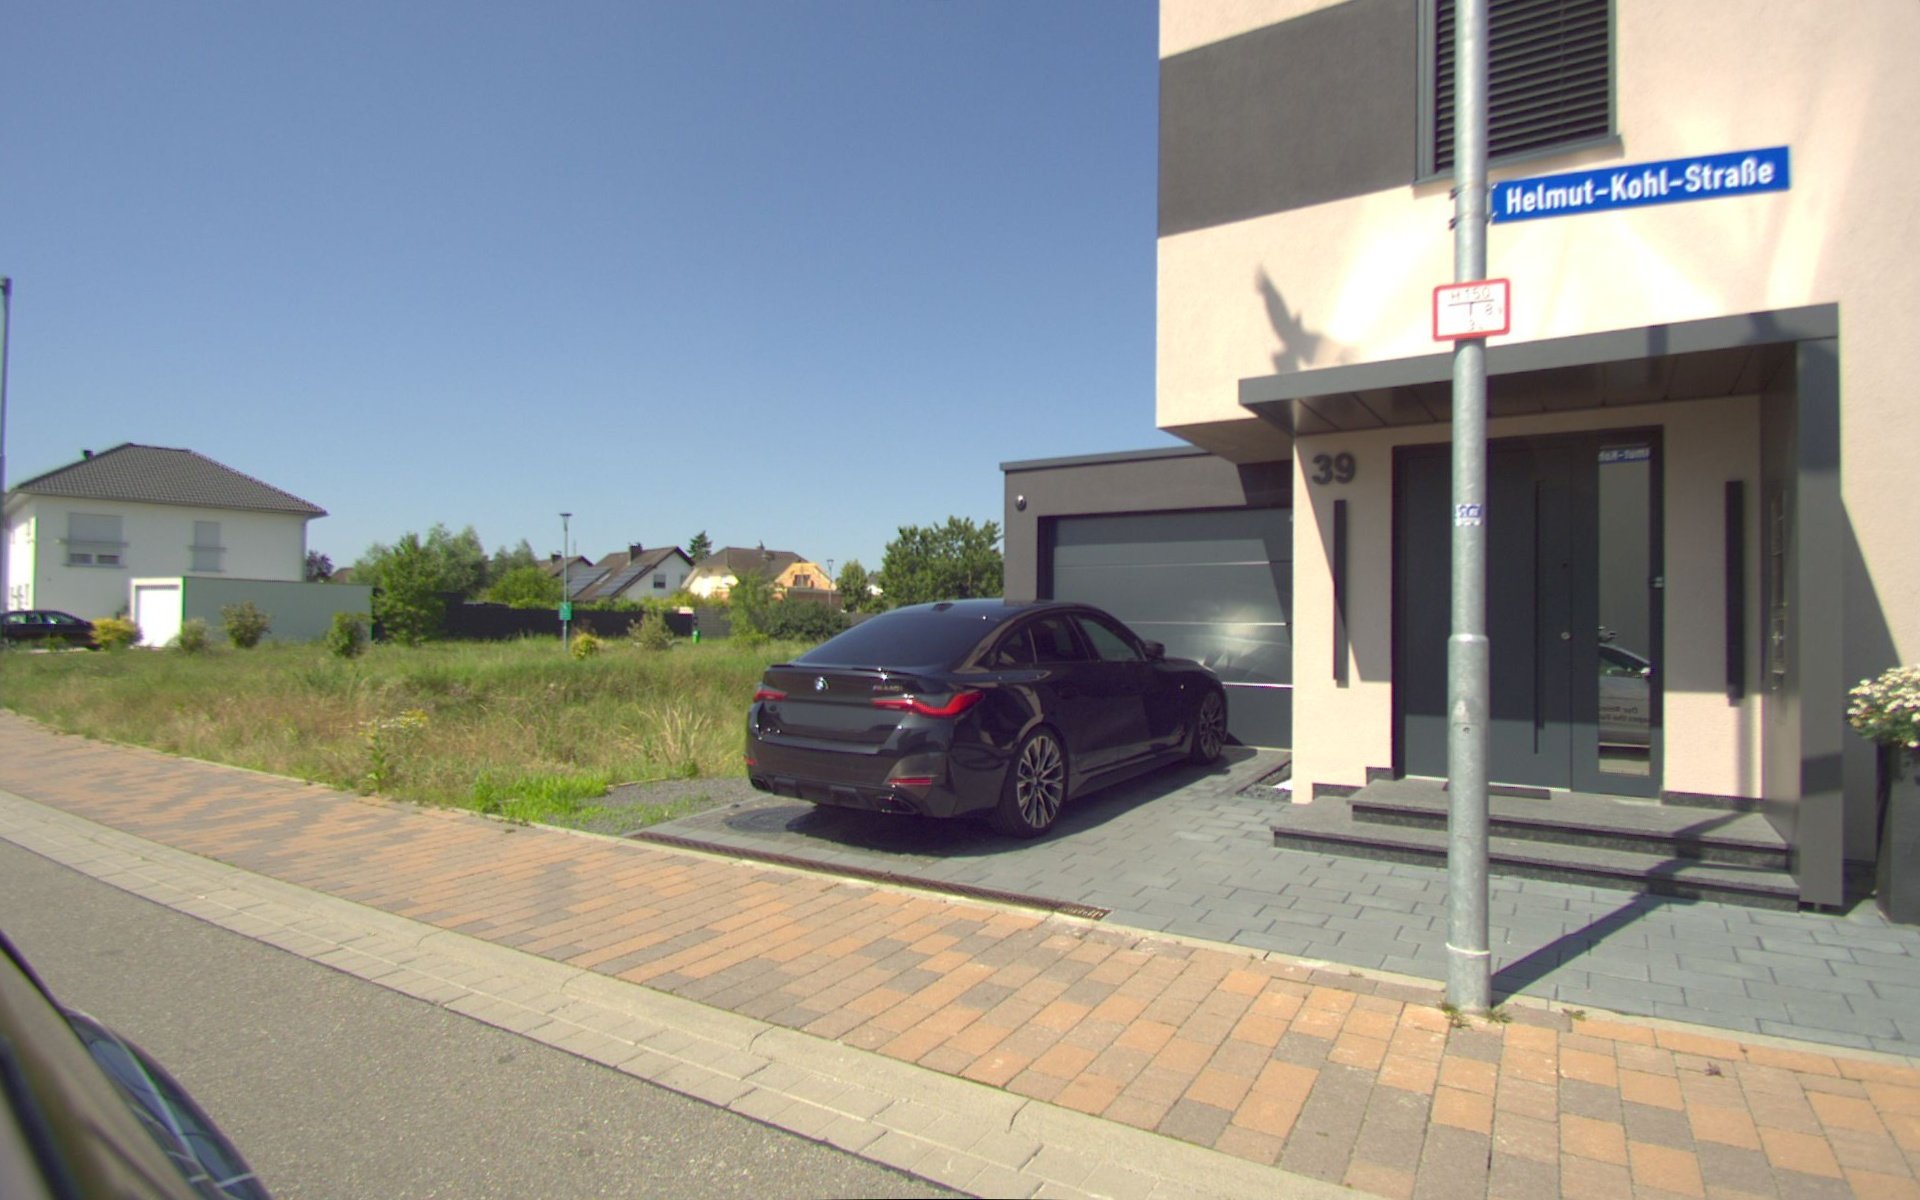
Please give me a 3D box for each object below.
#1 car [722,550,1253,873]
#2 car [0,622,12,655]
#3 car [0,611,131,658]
[{"bbox_3d":[0.518,0.598,7.436,1.767,1.644,4.336,-1,-1,36],"label":"car"},{"bbox_3d":[-55.725,2.171,56.530,2.000,1.866,3.943,-1,-2,43],"label":"car"},{"bbox_3d":[-30.159,1.091,33.141,1.742,1.463,4.363,-1,-1,29],"label":"car"}]
